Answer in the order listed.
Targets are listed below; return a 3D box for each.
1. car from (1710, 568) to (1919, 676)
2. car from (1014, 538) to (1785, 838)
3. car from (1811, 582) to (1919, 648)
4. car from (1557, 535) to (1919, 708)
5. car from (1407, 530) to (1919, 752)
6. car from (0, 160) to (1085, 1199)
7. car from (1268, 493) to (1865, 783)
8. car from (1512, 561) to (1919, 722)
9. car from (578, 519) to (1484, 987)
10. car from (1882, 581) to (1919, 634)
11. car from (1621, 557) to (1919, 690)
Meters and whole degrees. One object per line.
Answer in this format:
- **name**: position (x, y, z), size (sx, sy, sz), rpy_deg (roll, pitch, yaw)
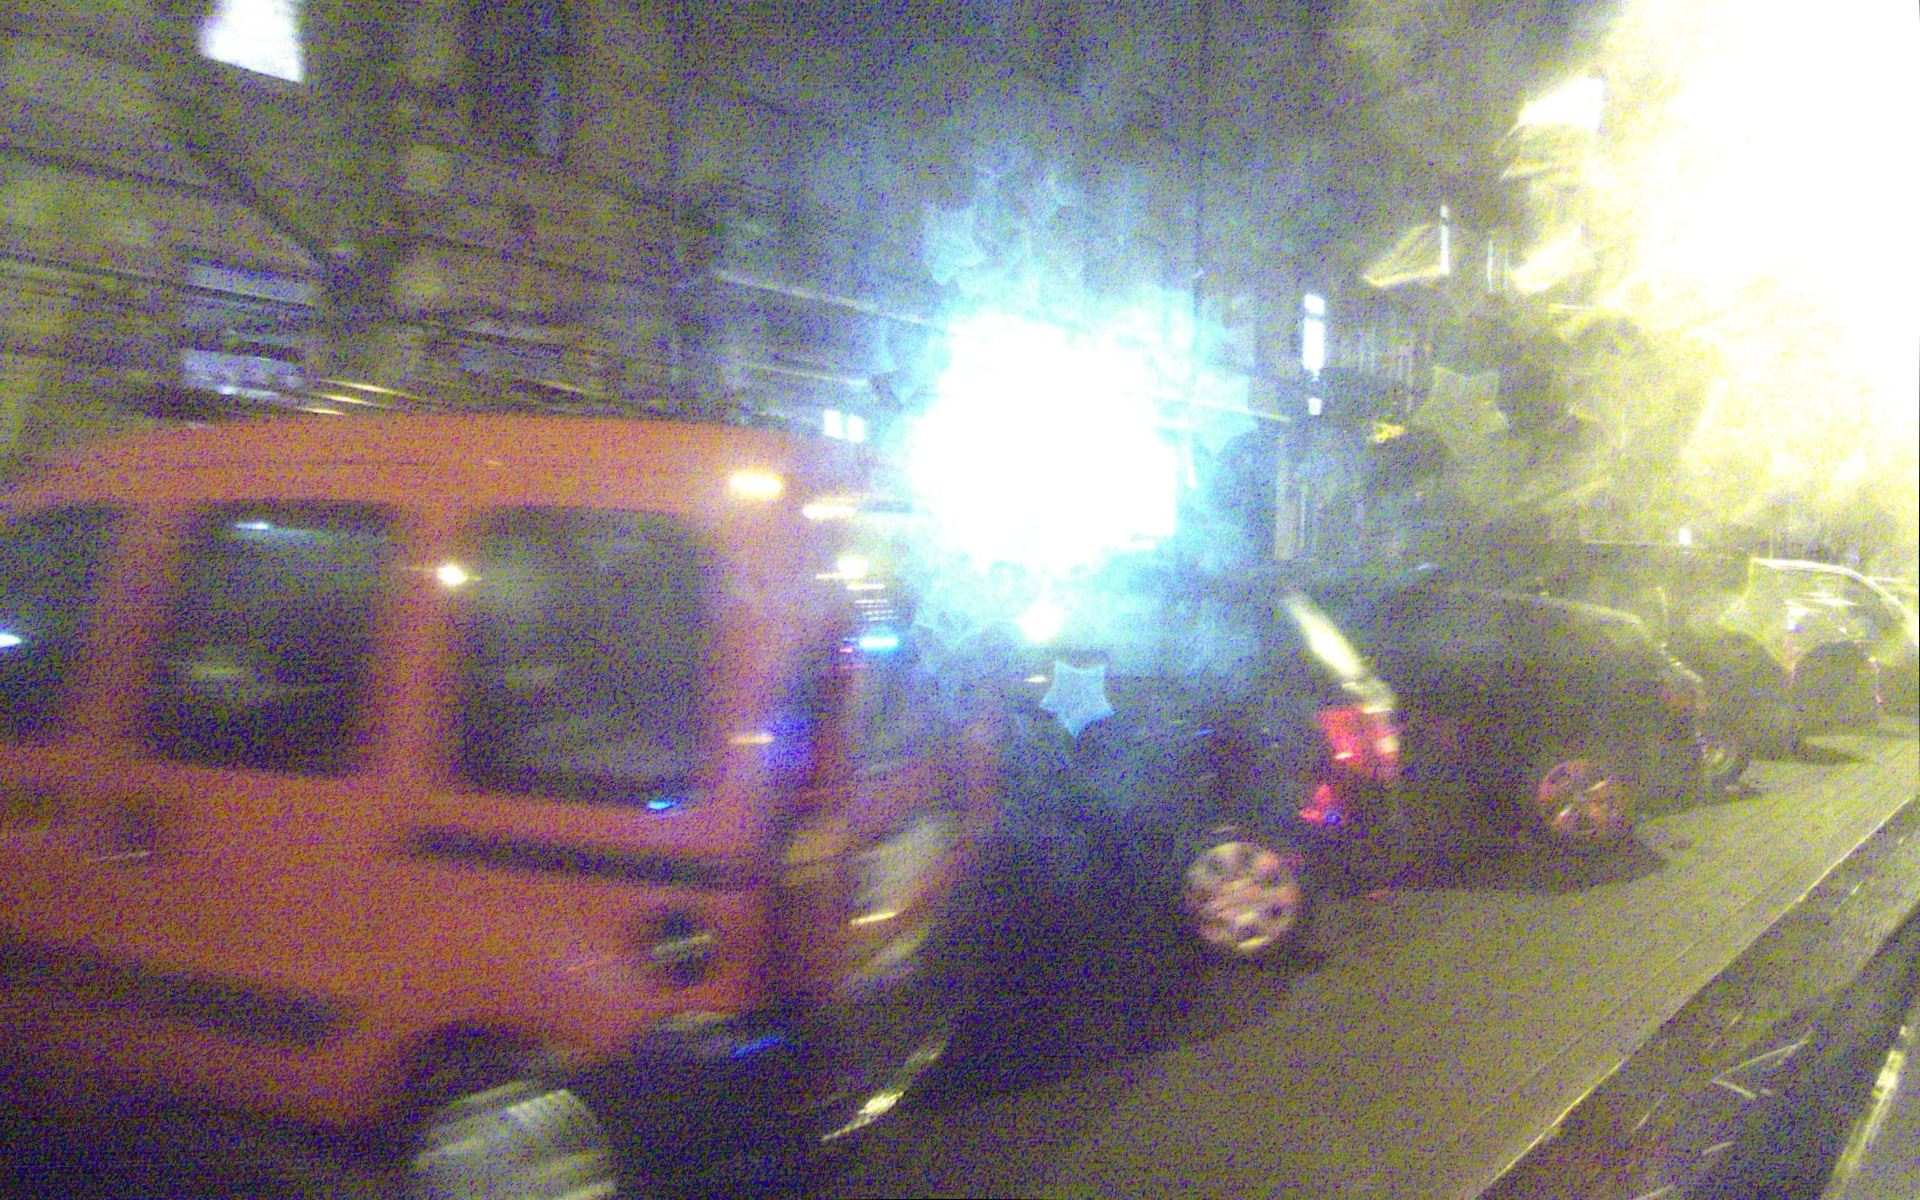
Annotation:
- **car**: position (15.576, 0.368, 17.463), size (3.899, 1.639, 1.694), rpy_deg (4, 3, 28)
- **car**: position (2.485, 0.402, 6.534), size (3.999, 1.471, 1.671), rpy_deg (2, 1, 15)
- **car**: position (23.891, 0.423, 25.083), size (3.897, 1.481, 1.695), rpy_deg (4, 3, 27)
- **car**: position (11.137, 0.229, 13.912), size (4.656, 2.004, 1.966), rpy_deg (4, 3, 21)
- **car**: position (6.866, 0.303, 10.284), size (3.875, 1.814, 1.737), rpy_deg (3, 3, 13)
- **car**: position (-1.632, 0.197, 2.934), size (3.687, 2.053, 1.714), rpy_deg (3, 3, 15)
- **car**: position (4.768, 0.197, 8.612), size (3.875, 1.966, 1.737), rpy_deg (3, 3, 13)
- **car**: position (9.095, 0.410, 12.209), size (3.880, 1.568, 1.735), rpy_deg (4, 3, 17)
- **car**: position (0.256, 0.454, 4.818), size (3.658, 1.470, 1.649), rpy_deg (4, 3, 18)
- **car**: position (30.770, 0.325, 30.552), size (3.897, 1.581, 1.695), rpy_deg (4, 3, 27)
- **car**: position (12.987, 0.299, 16.084), size (3.899, 1.763, 1.694), rpy_deg (4, 3, 28)
